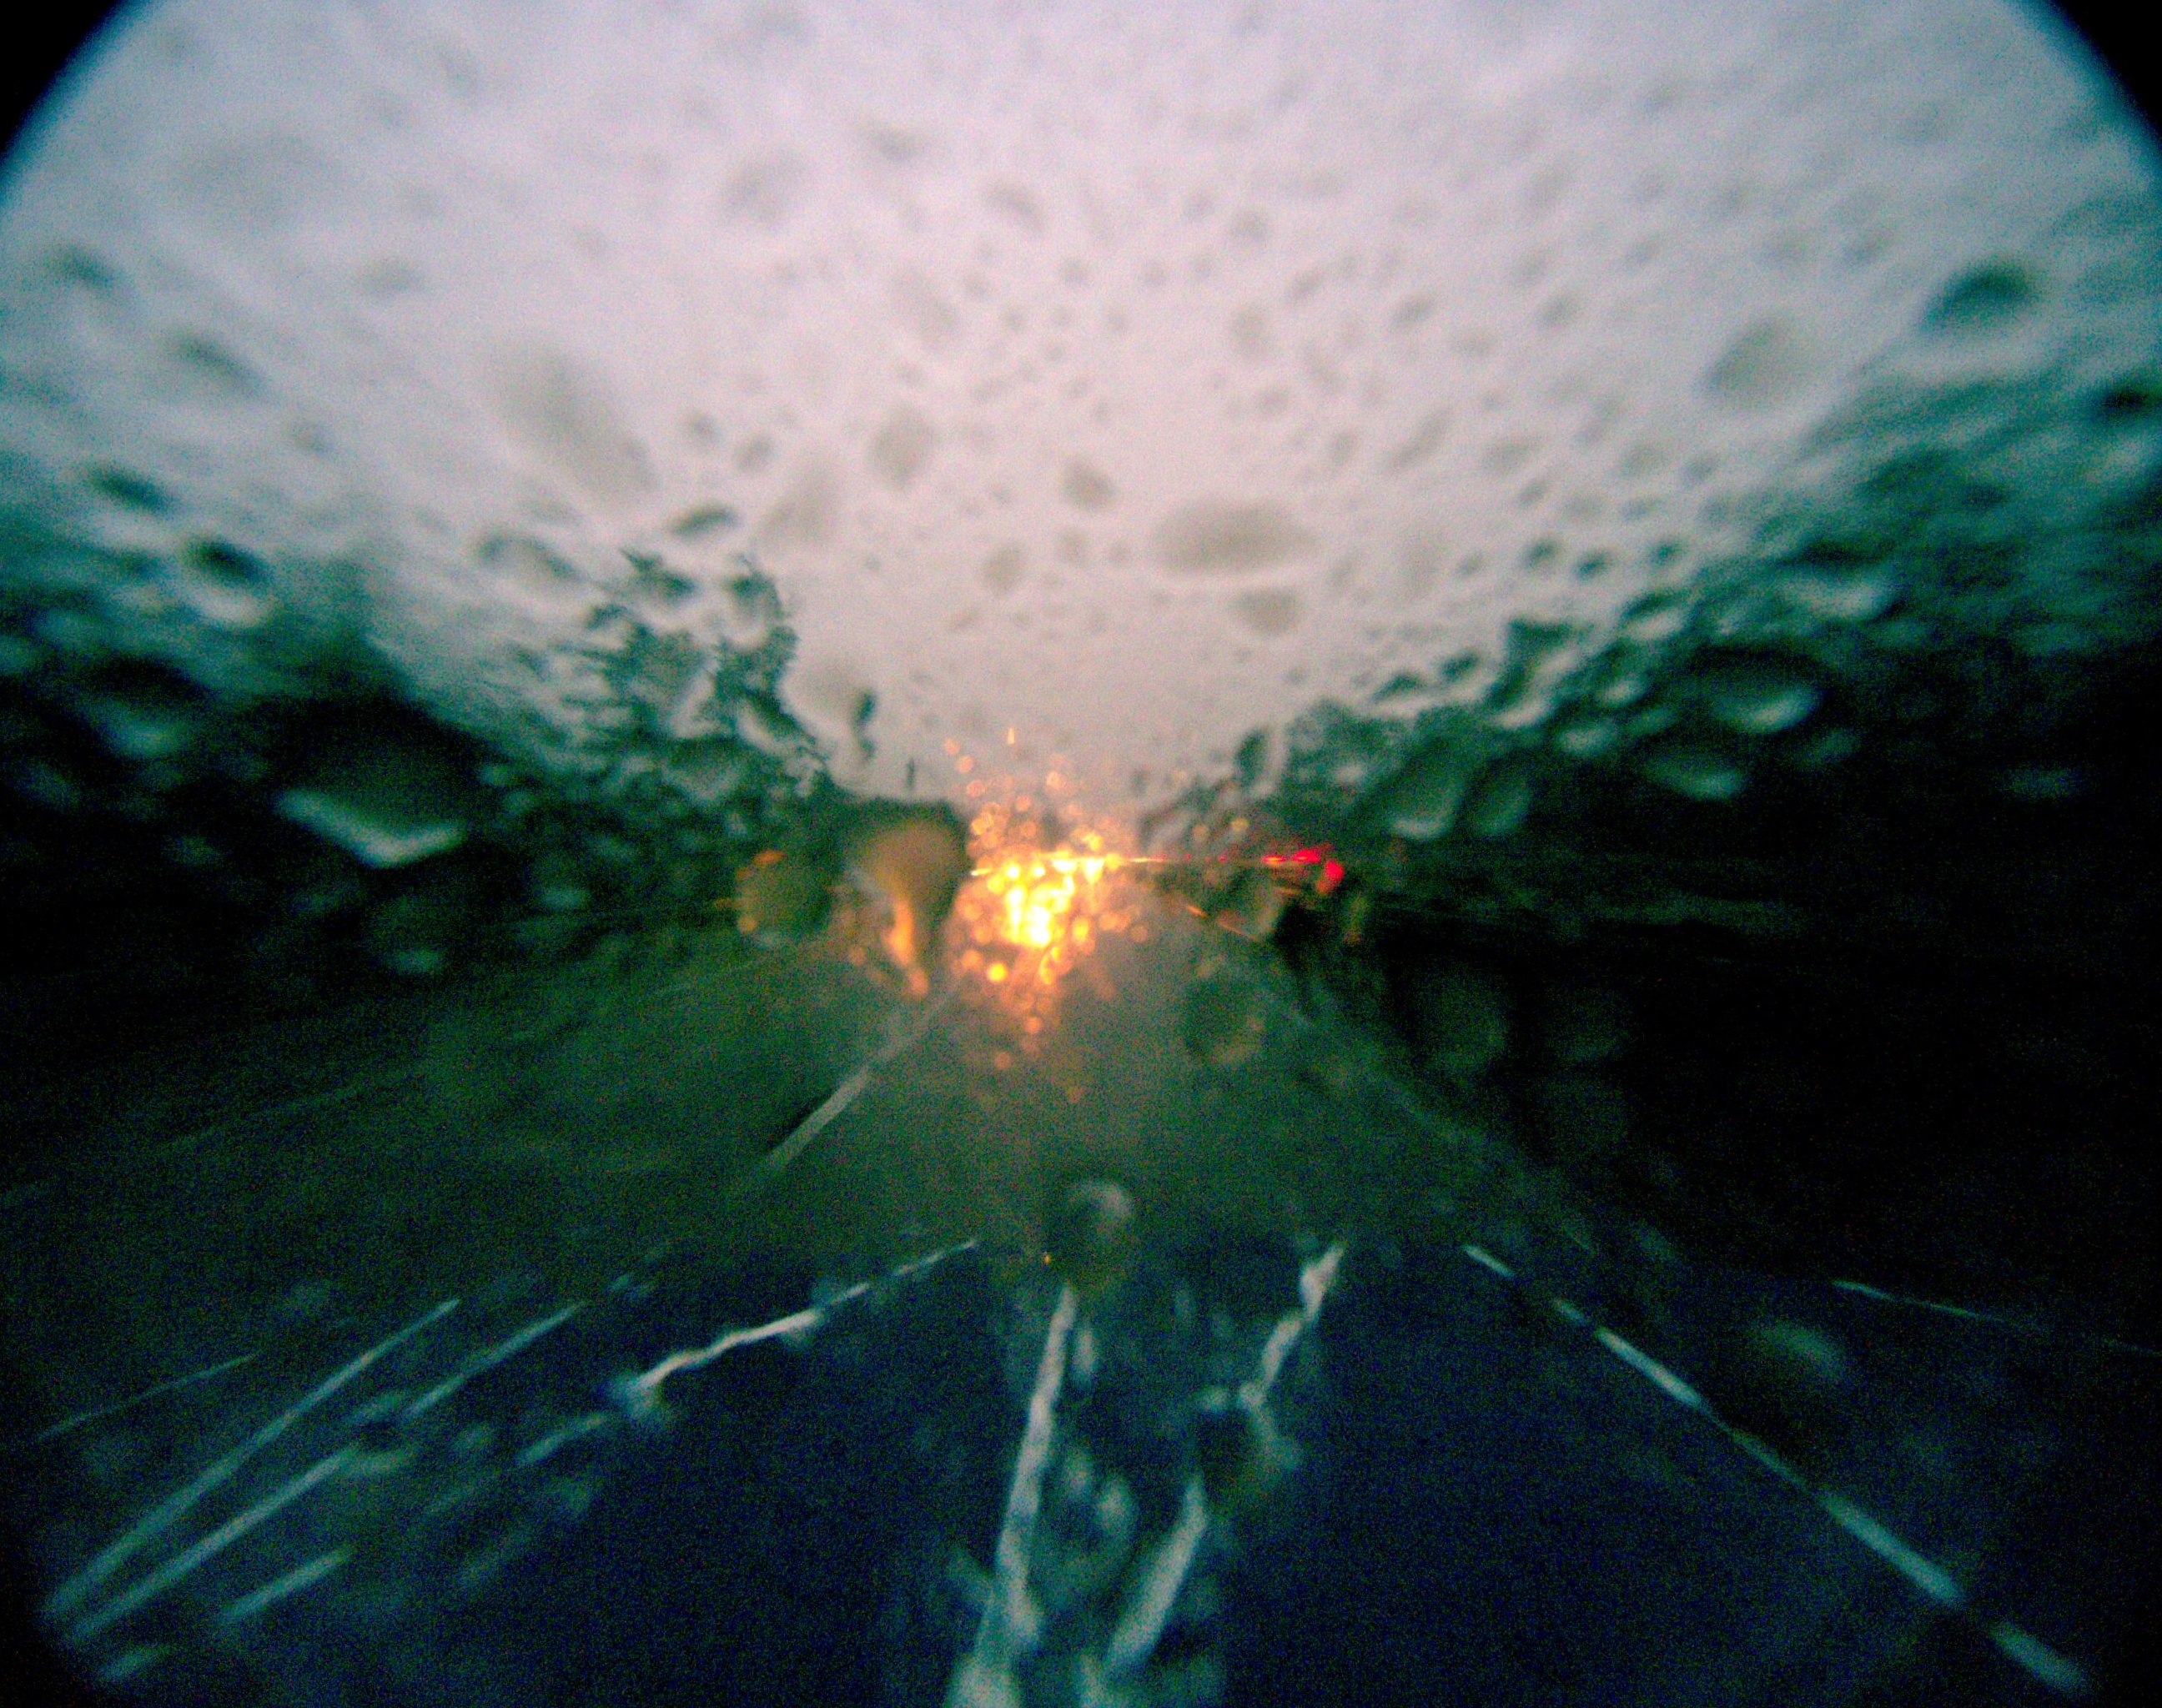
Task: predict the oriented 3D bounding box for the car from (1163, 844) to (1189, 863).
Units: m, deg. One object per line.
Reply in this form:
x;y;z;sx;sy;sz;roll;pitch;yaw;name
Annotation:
8.324;-0.076;66.773;1.832;1.536;3.999;-2;1;1;car

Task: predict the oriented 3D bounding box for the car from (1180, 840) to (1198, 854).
14.567;-0.937;102.975;1.855;1.873;3.999;-2;1;1;car

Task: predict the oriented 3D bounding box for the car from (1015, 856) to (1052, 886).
-2.619;0.917;42.767;1.741;1.441;3.999;-2;1;0;car

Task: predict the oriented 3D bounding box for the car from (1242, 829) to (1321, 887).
8.120;0.103;31.211;1.998;2.118;4.572;-2;1;1;car

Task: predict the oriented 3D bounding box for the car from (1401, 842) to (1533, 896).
11.924;0.401;23.869;1.757;1.476;4.721;-2;1;1;car

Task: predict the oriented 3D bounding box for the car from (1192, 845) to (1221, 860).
11.782;-0.155;71.513;1.998;1.277;3.999;-2;1;1;car

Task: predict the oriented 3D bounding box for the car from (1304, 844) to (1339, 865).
17.511;-0.016;55.396;1.531;1.408;3.753;-2;1;4;car
